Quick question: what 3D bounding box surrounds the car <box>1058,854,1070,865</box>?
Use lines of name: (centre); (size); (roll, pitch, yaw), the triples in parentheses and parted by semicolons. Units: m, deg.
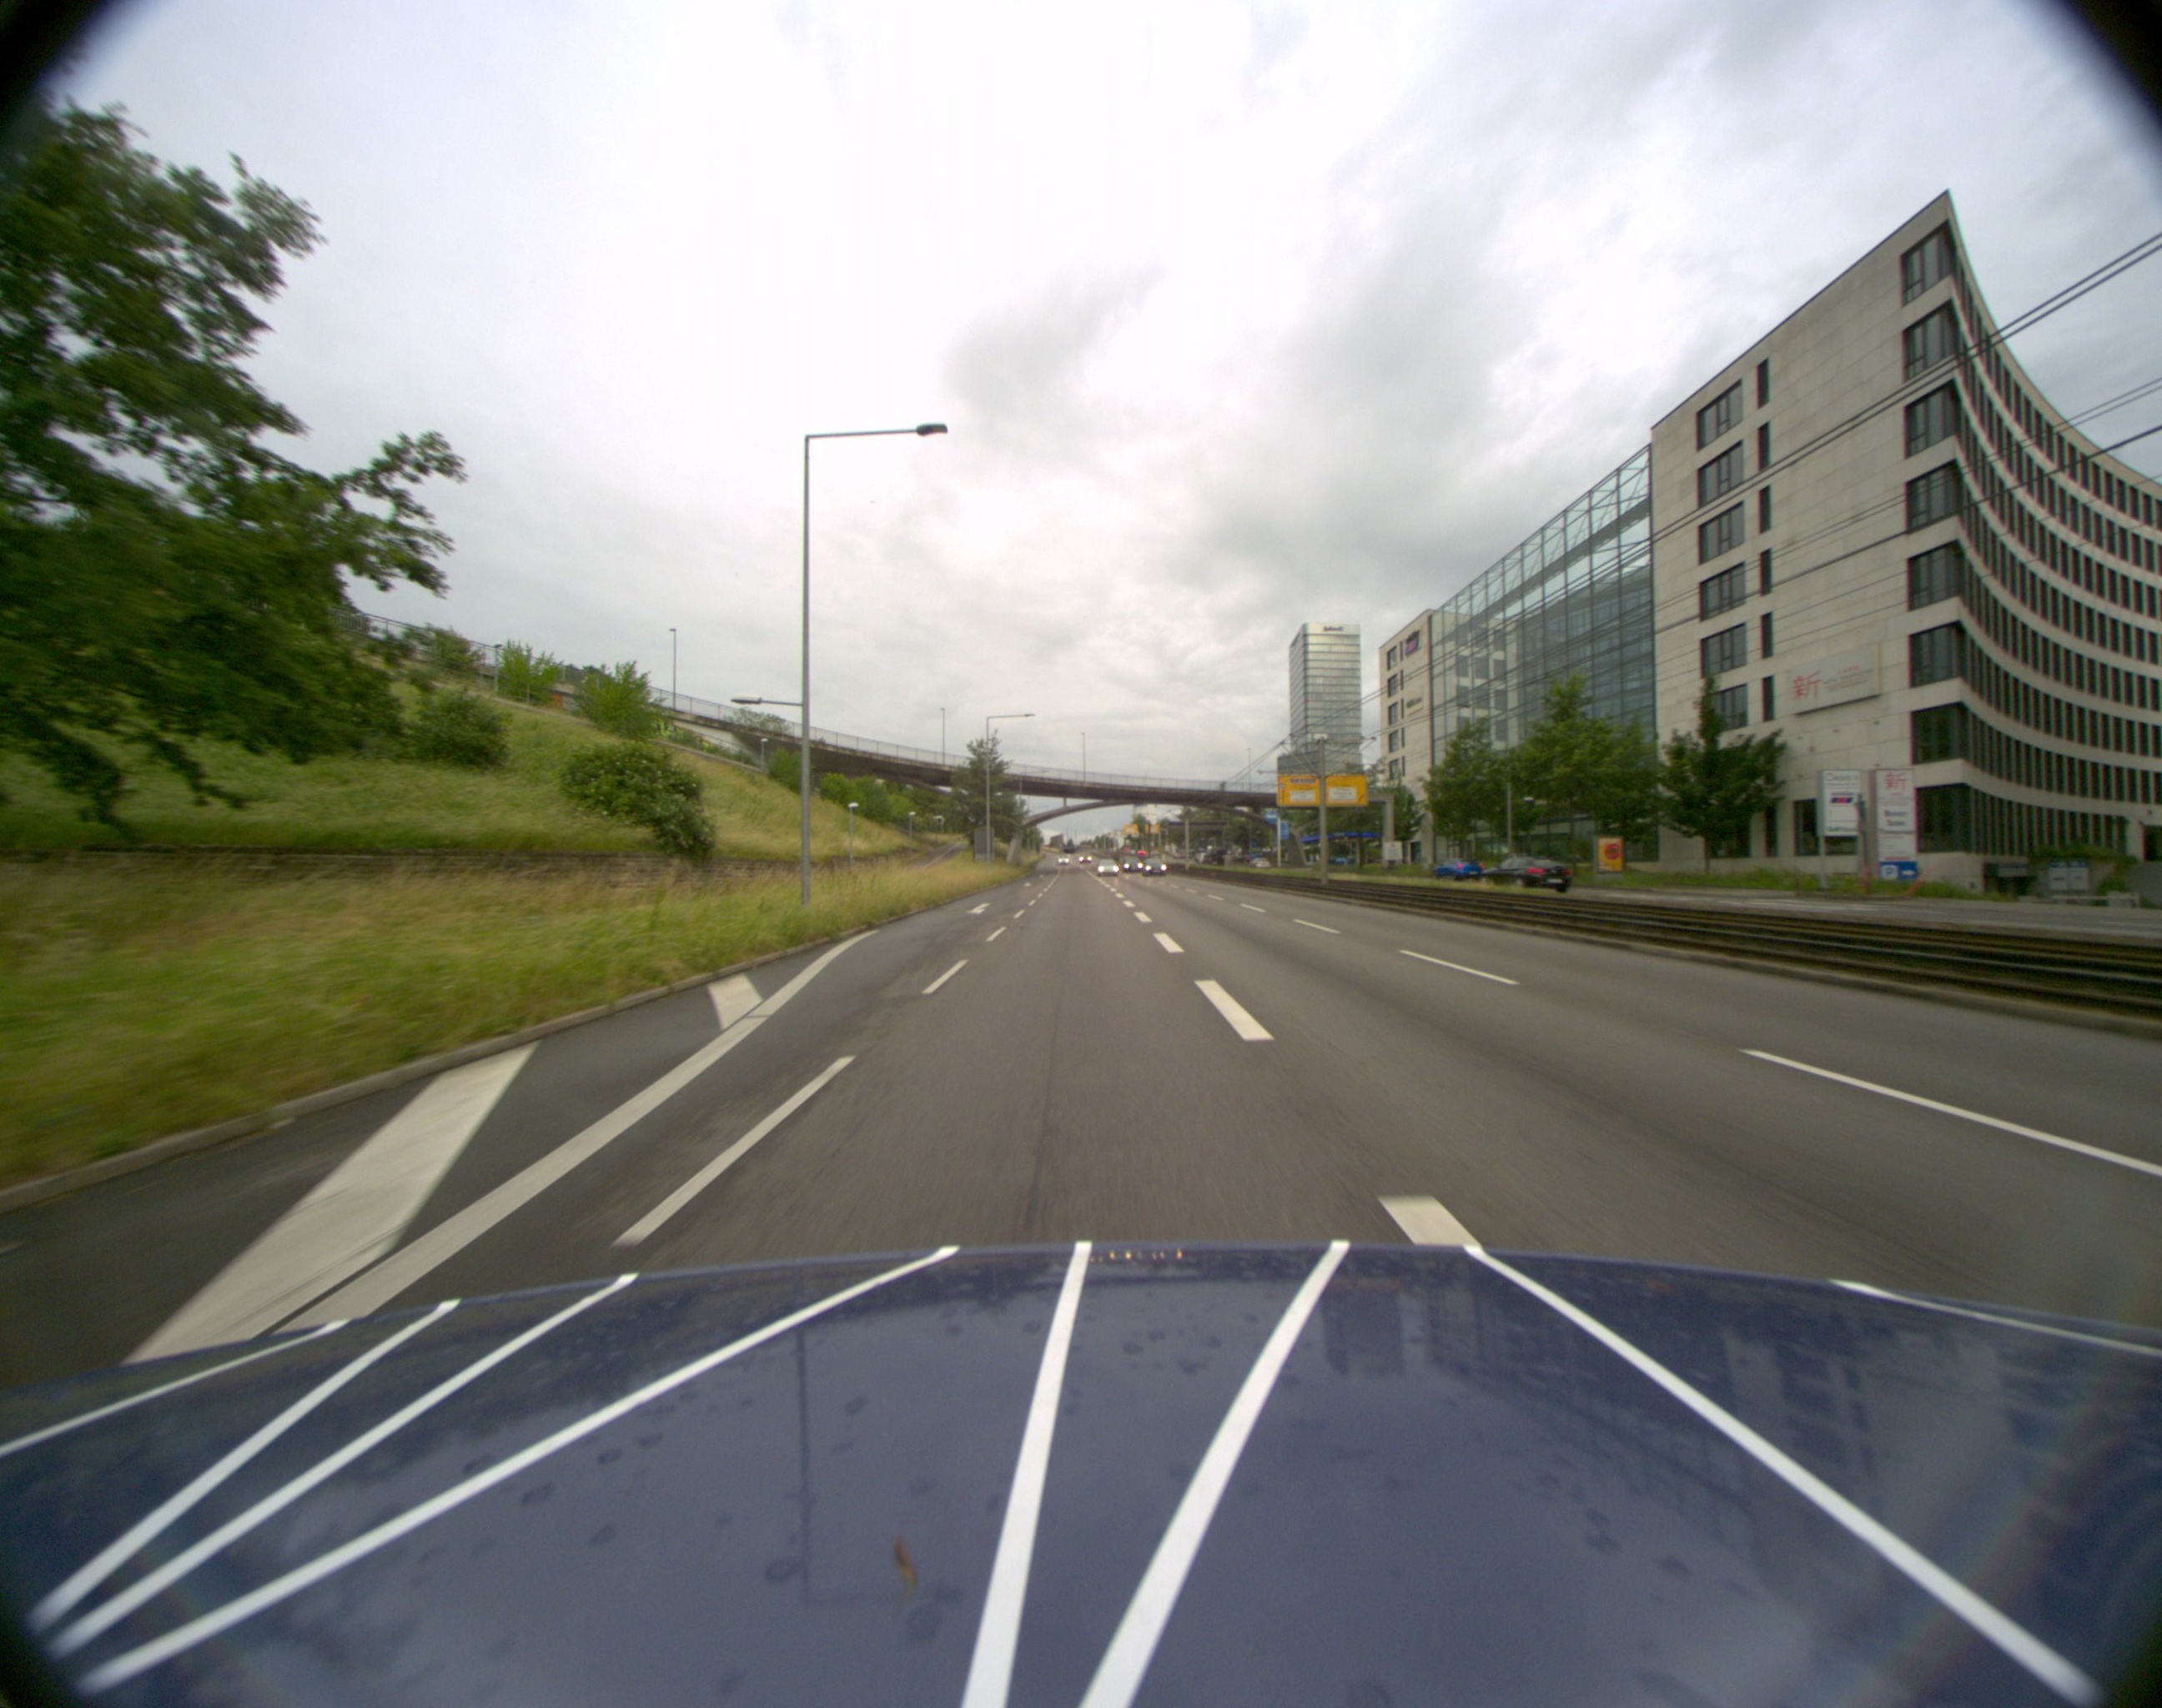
car: (-2.874, 0.880, 128.597); (1.794, 1.622, 4.376); (-2, 2, 1)

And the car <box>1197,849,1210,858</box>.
car: (22.689, -0.120, 140.841); (1.814, 1.597, 4.490); (-2, 0, 0)

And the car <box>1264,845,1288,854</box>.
car: (38.989, -0.883, 152.287); (4.363, 1.495, 1.885); (-2, 2, 2)

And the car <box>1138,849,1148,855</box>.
car: (16.101, -0.545, 197.782); (1.815, 1.524, 4.868); (-2, 0, -3)

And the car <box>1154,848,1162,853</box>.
car: (22.739, -0.970, 223.726); (1.925, 1.488, 4.656); (2, 0, 1)

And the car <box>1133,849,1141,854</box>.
car: (16.153, -0.701, 218.892); (1.768, 1.588, 4.791); (-2, 0, 0)

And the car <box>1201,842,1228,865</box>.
car: (17.607, -0.058, 100.363); (2.390, 2.801, 5.610); (-2, 1, -1)

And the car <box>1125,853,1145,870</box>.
car: (5.651, 0.805, 80.273); (1.794, 1.535, 4.376); (-2, 2, 1)

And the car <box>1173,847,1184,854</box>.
car: (22.312, -0.760, 174.422); (1.814, 1.524, 4.274); (-2, 0, -1)

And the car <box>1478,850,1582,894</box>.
car: (17.710, 0.658, 30.240); (1.776, 1.493, 4.199); (-2, 2, 2)

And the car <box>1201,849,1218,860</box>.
car: (20.978, 0.037, 123.803); (1.942, 1.751, 5.062); (-2, 0, 1)

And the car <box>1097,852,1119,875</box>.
car: (2.431, 0.836, 69.223); (1.794, 1.858, 4.376); (-2, 2, 1)

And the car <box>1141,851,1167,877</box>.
car: (6.078, 0.811, 63.606); (1.794, 1.858, 4.376); (-2, 2, 1)

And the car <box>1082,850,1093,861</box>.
car: (1.177, 0.239, 132.059); (1.794, 1.858, 4.376); (-2, 2, 1)

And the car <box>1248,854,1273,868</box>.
car: (21.328, 0.808, 90.415); (1.764, 1.524, 4.817); (-2, 0, 0)

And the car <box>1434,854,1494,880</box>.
car: (24.329, 0.797, 48.439); (1.845, 1.446, 4.023); (-2, 2, 1)
